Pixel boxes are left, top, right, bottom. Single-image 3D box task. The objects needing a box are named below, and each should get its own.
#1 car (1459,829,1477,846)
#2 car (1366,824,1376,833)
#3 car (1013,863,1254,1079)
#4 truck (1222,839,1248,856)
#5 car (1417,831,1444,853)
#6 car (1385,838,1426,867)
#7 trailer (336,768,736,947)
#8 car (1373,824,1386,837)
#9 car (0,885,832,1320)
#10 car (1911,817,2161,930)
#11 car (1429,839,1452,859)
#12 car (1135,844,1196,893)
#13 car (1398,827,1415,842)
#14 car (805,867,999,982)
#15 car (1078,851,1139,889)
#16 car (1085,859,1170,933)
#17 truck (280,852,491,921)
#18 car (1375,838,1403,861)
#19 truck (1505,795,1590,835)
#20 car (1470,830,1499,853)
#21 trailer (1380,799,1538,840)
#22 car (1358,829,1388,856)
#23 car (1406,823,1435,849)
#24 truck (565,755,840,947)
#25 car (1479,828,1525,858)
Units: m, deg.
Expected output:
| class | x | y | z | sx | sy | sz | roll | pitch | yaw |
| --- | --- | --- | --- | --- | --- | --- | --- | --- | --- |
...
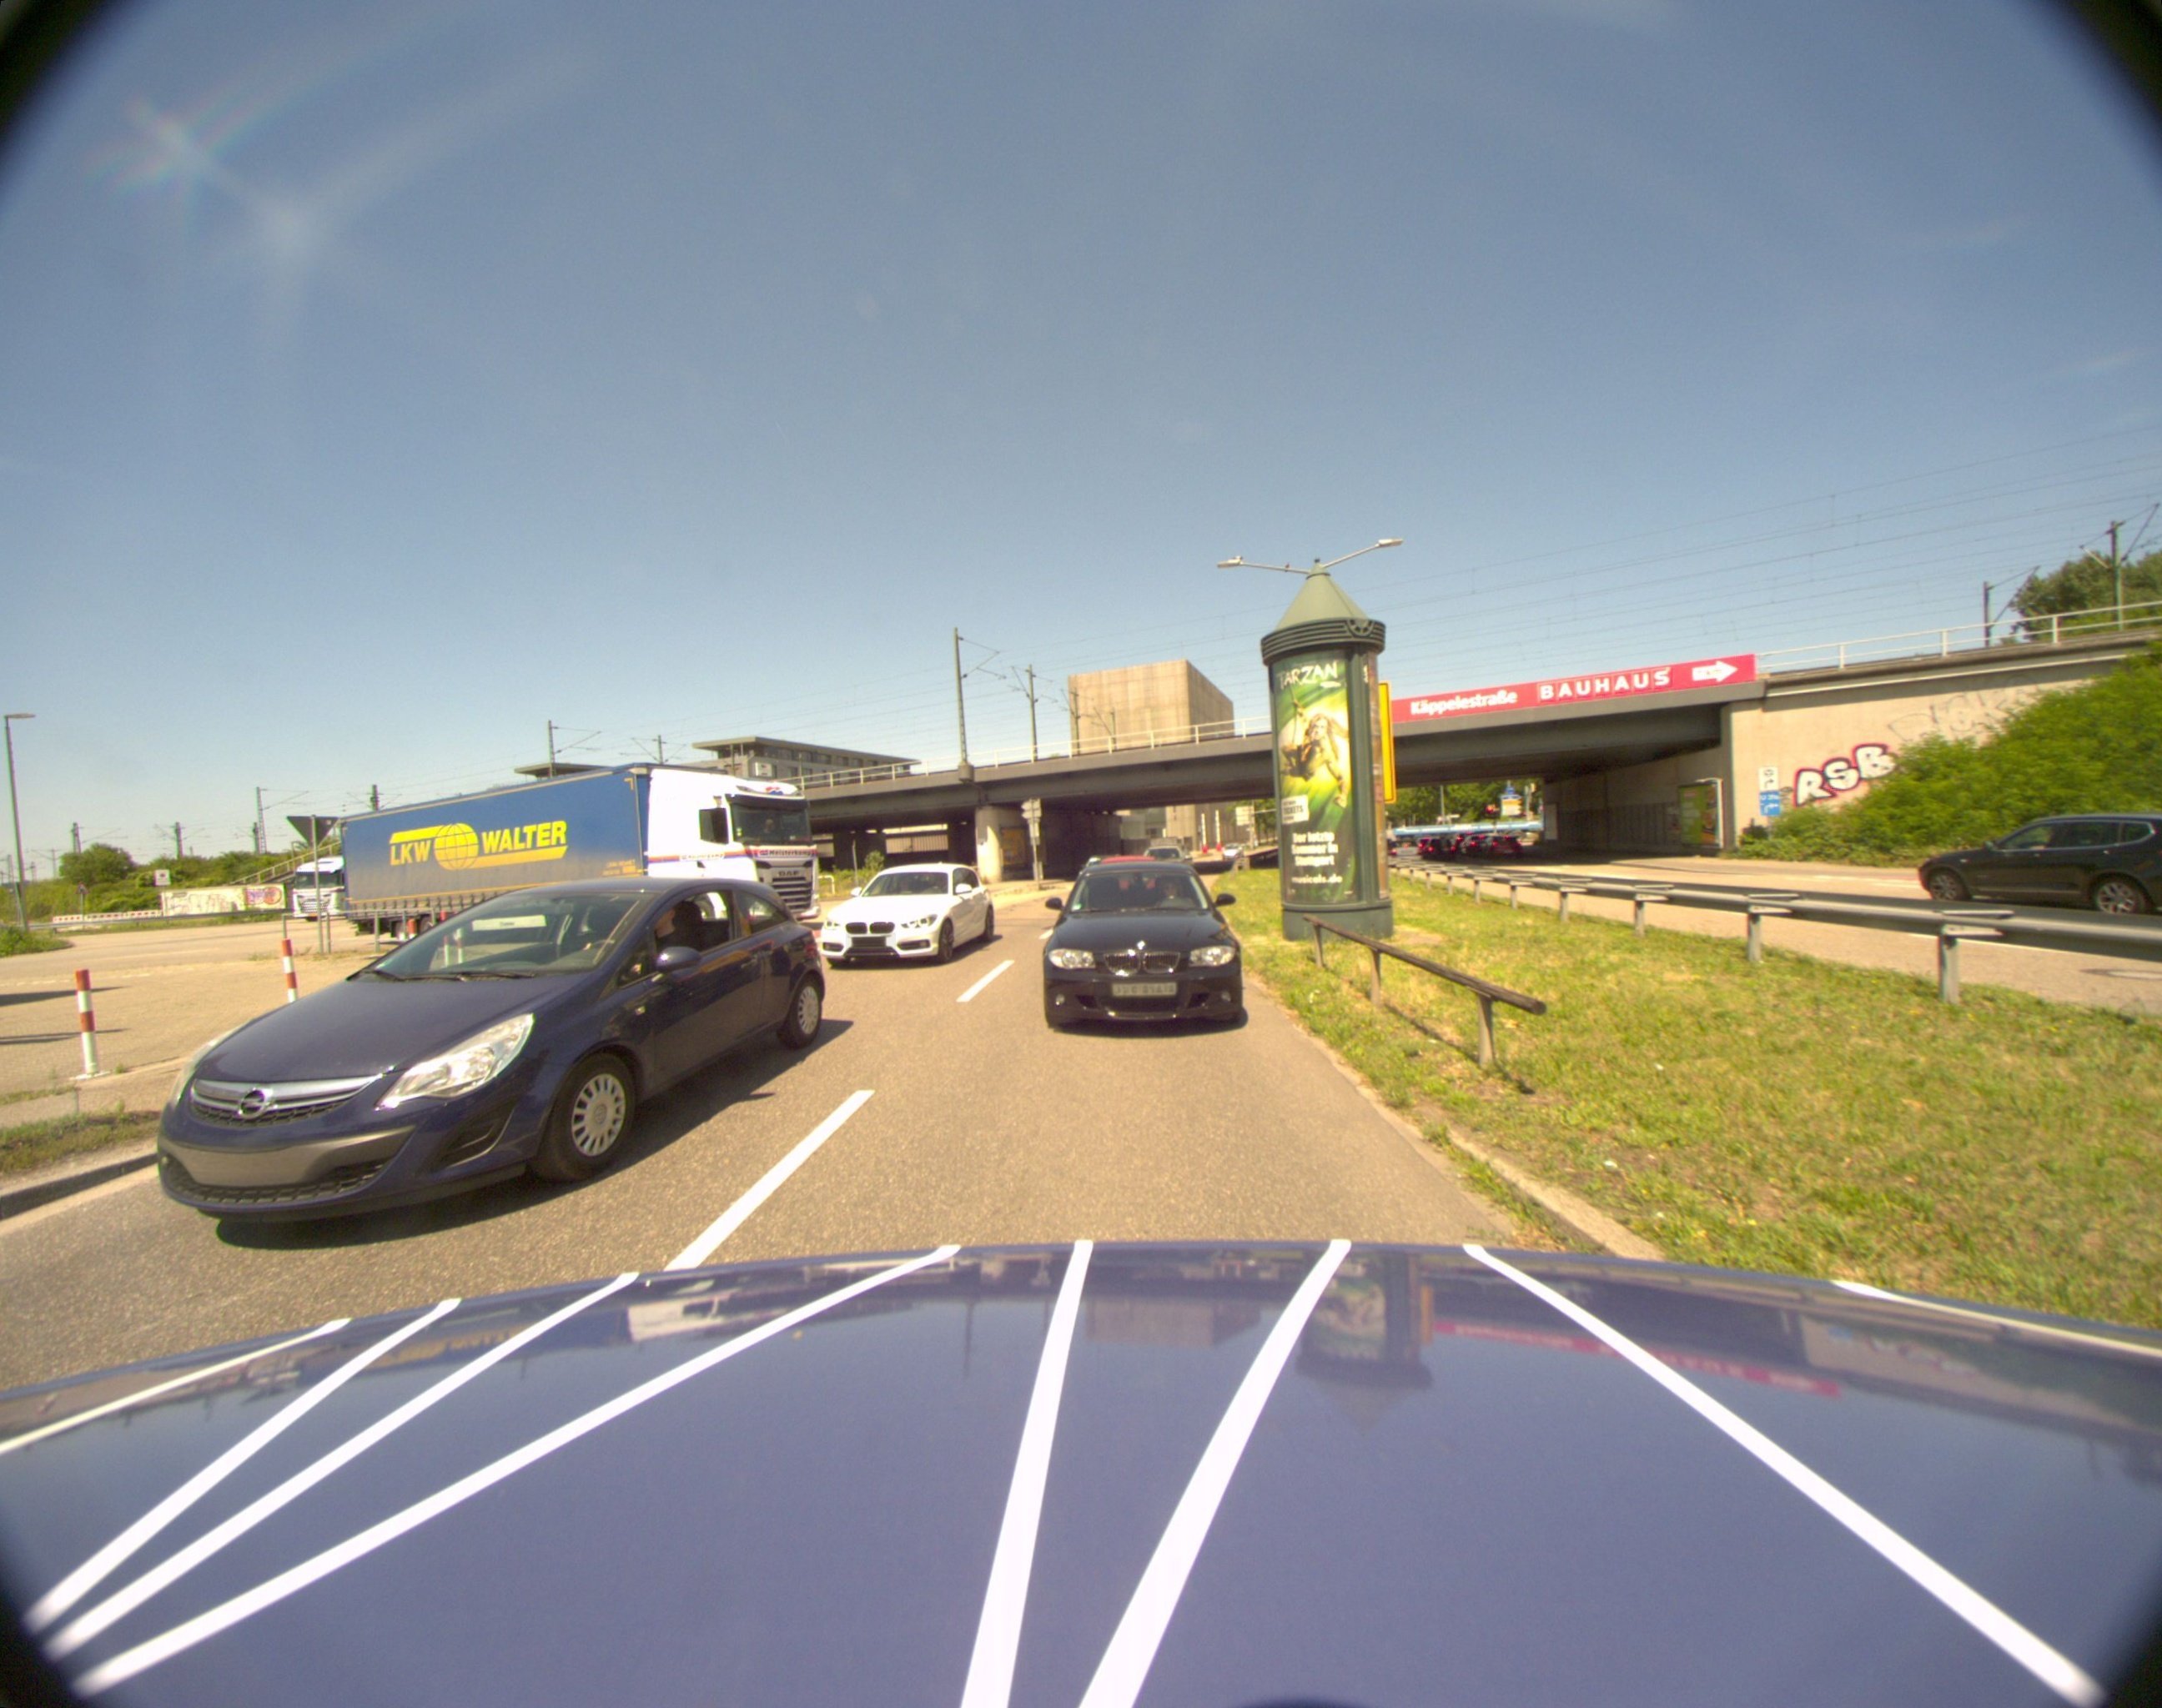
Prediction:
| class | x | y | z | sx | sy | sz | roll | pitch | yaw |
| --- | --- | --- | --- | --- | --- | --- | --- | --- | --- |
| car | 29.607 | -1.268 | 58.189 | 1.183 | 1.241 | 2.696 | -2 | 1 | 26 |
| car | 66.095 | -5.854 | 173.089 | 1.996 | 2.002 | 4.005 | -2 | 1 | 20 |
| car | 0.545 | 0.880 | 7.497 | 1.681 | 1.409 | 4.057 | -2 | 1 | 5 |
| truck | 15.601 | -0.667 | 76.758 | 1.728 | 1.493 | 4.006 | -2 | 1 | 24 |
| car | 24.666 | -0.854 | 53.525 | 1.617 | 1.468 | 3.438 | -2 | 1 | 26 |
| car | 16.816 | -0.109 | 39.543 | 1.636 | 1.395 | 4.227 | -1 | 1 | 19 |
| trailer | -15.759 | 0.379 | 21.319 | 13.872 | 4.066 | 2.504 | -3 | 1 | 25 |
| car | 48.557 | -3.794 | 123.562 | 1.836 | 2.002 | 4.005 | -2 | 1 | 19 |
| car | -3.161 | 1.018 | 4.769 | 1.650 | 1.435 | 3.892 | -2 | 0 | 4 |
| car | 16.879 | 0.236 | 12.809 | 1.491 | 1.623 | 4.476 | -2 | 1 | 11 |
| car | 22.778 | -0.350 | 48.087 | 1.268 | 1.178 | 2.782 | -2 | 1 | 26 |
| car | 3.303 | 0.496 | 29.119 | 1.844 | 1.686 | 3.702 | -2 | 1 | 13 |
| car | 45.282 | -2.741 | 105.674 | 1.836 | 2.002 | 4.005 | -2 | 1 | 19 |
| car | -2.624 | 0.974 | 12.195 | 1.762 | 1.435 | 4.054 | -1 | 0 | 6 |
| car | 1.270 | 0.664 | 33.490 | 1.715 | 1.434 | 4.004 | -2 | 1 | 16 |
| car | 0.991 | 0.834 | 16.943 | 1.646 | 1.391 | 4.053 | -1 | 0 | 2 |
| truck | -48.935 | 1.958 | 54.827 | 2.754 | 4.079 | 17.421 | -3 | 1 | -13 |
| car | 19.552 | -0.321 | 48.187 | 1.410 | 1.311 | 3.266 | -2 | 1 | 25 |
| truck | 44.421 | -3.656 | 72.632 | 6.550 | 3.398 | 3.027 | -2 | 1 | 26 |
| car | 27.450 | -0.867 | 51.784 | 1.571 | 1.494 | 3.412 | -2 | 1 | 26 |
| trailer | 37.966 | -3.416 | 76.913 | 13.855 | 3.354 | 2.971 | -2 | 1 | 36 |
| car | 21.343 | -0.854 | 55.363 | 1.904 | 1.849 | 4.005 | -2 | 1 | 22 |
| car | 26.787 | -1.417 | 59.955 | 1.904 | 1.849 | 4.005 | -2 | 1 | 22 |
| truck | -9.140 | 0.003 | 18.427 | 5.749 | 4.078 | 2.579 | -2 | 1 | 21 |
| car | 25.621 | -0.689 | 46.357 | 1.774 | 1.658 | 4.020 | -2 | 1 | 20 |
